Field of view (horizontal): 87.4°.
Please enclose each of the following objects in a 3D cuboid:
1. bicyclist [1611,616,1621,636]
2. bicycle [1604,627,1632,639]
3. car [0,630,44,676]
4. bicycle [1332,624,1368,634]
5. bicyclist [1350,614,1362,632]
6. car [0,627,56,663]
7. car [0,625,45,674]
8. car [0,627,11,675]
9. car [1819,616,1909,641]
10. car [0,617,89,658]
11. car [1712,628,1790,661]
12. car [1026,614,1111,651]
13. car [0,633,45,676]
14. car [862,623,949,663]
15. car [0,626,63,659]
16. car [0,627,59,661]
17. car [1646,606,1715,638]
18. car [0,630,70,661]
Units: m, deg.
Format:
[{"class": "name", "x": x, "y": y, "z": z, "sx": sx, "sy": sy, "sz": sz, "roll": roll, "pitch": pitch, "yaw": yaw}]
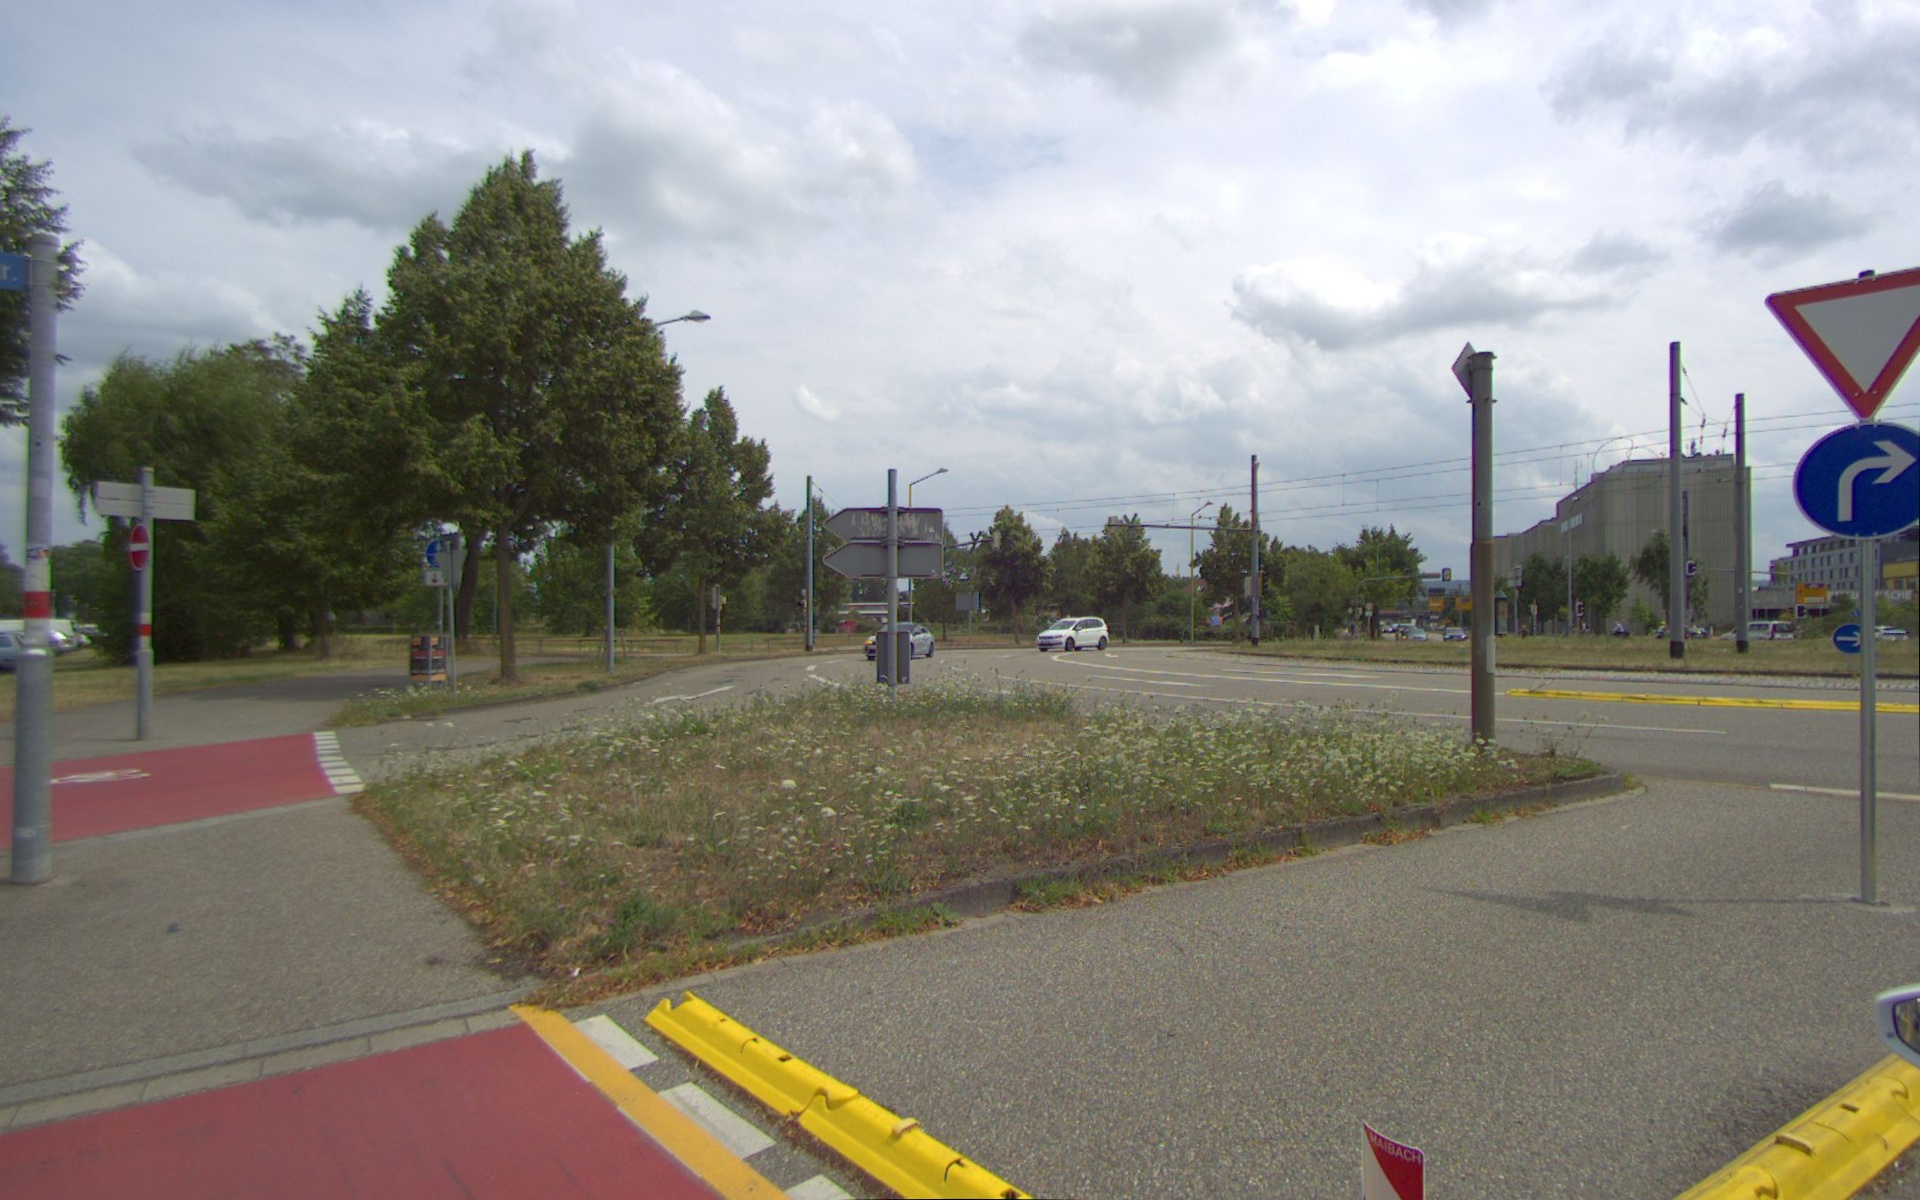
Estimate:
[{"class": "bicyclist", "x": 51.398, "y": 2.046, "z": 78.708, "sx": 0.641, "sy": 1.579, "sz": 0.528, "roll": -1, "pitch": -1, "yaw": 40}, {"class": "bicycle", "x": 51.491, "y": 2.589, "z": 78.609, "sx": 1.807, "sy": 0.889, "sz": 0.528, "roll": -1, "pitch": -1, "yaw": 40}, {"class": "car", "x": -33.836, "y": 1.772, "z": 33.420, "sx": 4.847, "sy": 1.491, "sz": 1.812, "roll": 1, "pitch": -1, "yaw": -39}, {"class": "bicycle", "x": 31.965, "y": 2.369, "z": 82.431, "sx": 2.605, "sy": 0.866, "sz": 0.864, "roll": 0, "pitch": -1, "yaw": 4}, {"class": "bicyclist", "x": 32.448, "y": 1.885, "z": 82.383, "sx": 0.660, "sy": 1.428, "sz": 0.864, "roll": 0, "pitch": -1, "yaw": 4}, {"class": "car", "x": -41.431, "y": 1.916, "z": 42.700, "sx": 4.350, "sy": 1.491, "sz": 1.812, "roll": 1, "pitch": -1, "yaw": -39}, {"class": "car", "x": -31.895, "y": 1.632, "z": 31.480, "sx": 4.671, "sy": 1.491, "sz": 1.811, "roll": -2, "pitch": 1, "yaw": -42}, {"class": "car", "x": -30.109, "y": 1.573, "z": 29.704, "sx": 1.464, "sy": 1.442, "sz": 2.898, "roll": -2, "pitch": 0, "yaw": 44}, {"class": "car", "x": 57.251, "y": 1.775, "z": 63.699, "sx": 1.800, "sy": 1.483, "sz": 3.995, "roll": 2, "pitch": -1, "yaw": -8}, {"class": "car", "x": -49.373, "y": 1.937, "z": 52.674, "sx": 5.527, "sy": 2.083, "sz": 2.175, "roll": 1, "pitch": -1, "yaw": -41}, {"class": "car", "x": 52.686, "y": 2.919, "z": 66.996, "sx": 1.960, "sy": 2.040, "sz": 4.364, "roll": 2, "pitch": -1, "yaw": 5}, {"class": "car", "x": 5.471, "y": 1.610, "z": 50.216, "sx": 1.913, "sy": 1.687, "sz": 4.327, "roll": -3, "pitch": -2, "yaw": 45}, {"class": "car", "x": -35.416, "y": 1.937, "z": 35.194, "sx": 4.847, "sy": 1.491, "sz": 1.812, "roll": 1, "pitch": -1, "yaw": -39}, {"class": "car", "x": -2.086, "y": 1.671, "z": 40.272, "sx": 1.960, "sy": 1.502, "sz": 5.186, "roll": 0, "pitch": -1, "yaw": 15}, {"class": "car", "x": -44.653, "y": 1.958, "z": 46.719, "sx": 4.275, "sy": 1.491, "sz": 1.812, "roll": 1, "pitch": -1, "yaw": -39}, {"class": "car", "x": -43.209, "y": 1.939, "z": 44.639, "sx": 4.565, "sy": 1.491, "sz": 1.812, "roll": 1, "pitch": -1, "yaw": -39}, {"class": "car", "x": 48.267, "y": 1.449, "z": 67.420, "sx": 1.960, "sy": 2.040, "sz": 4.002, "roll": 2, "pitch": -1, "yaw": 5}, {"class": "car", "x": -46.179, "y": 2.206, "z": 48.824, "sx": 4.275, "sy": 1.491, "sz": 1.812, "roll": 1, "pitch": -1, "yaw": -39}]
